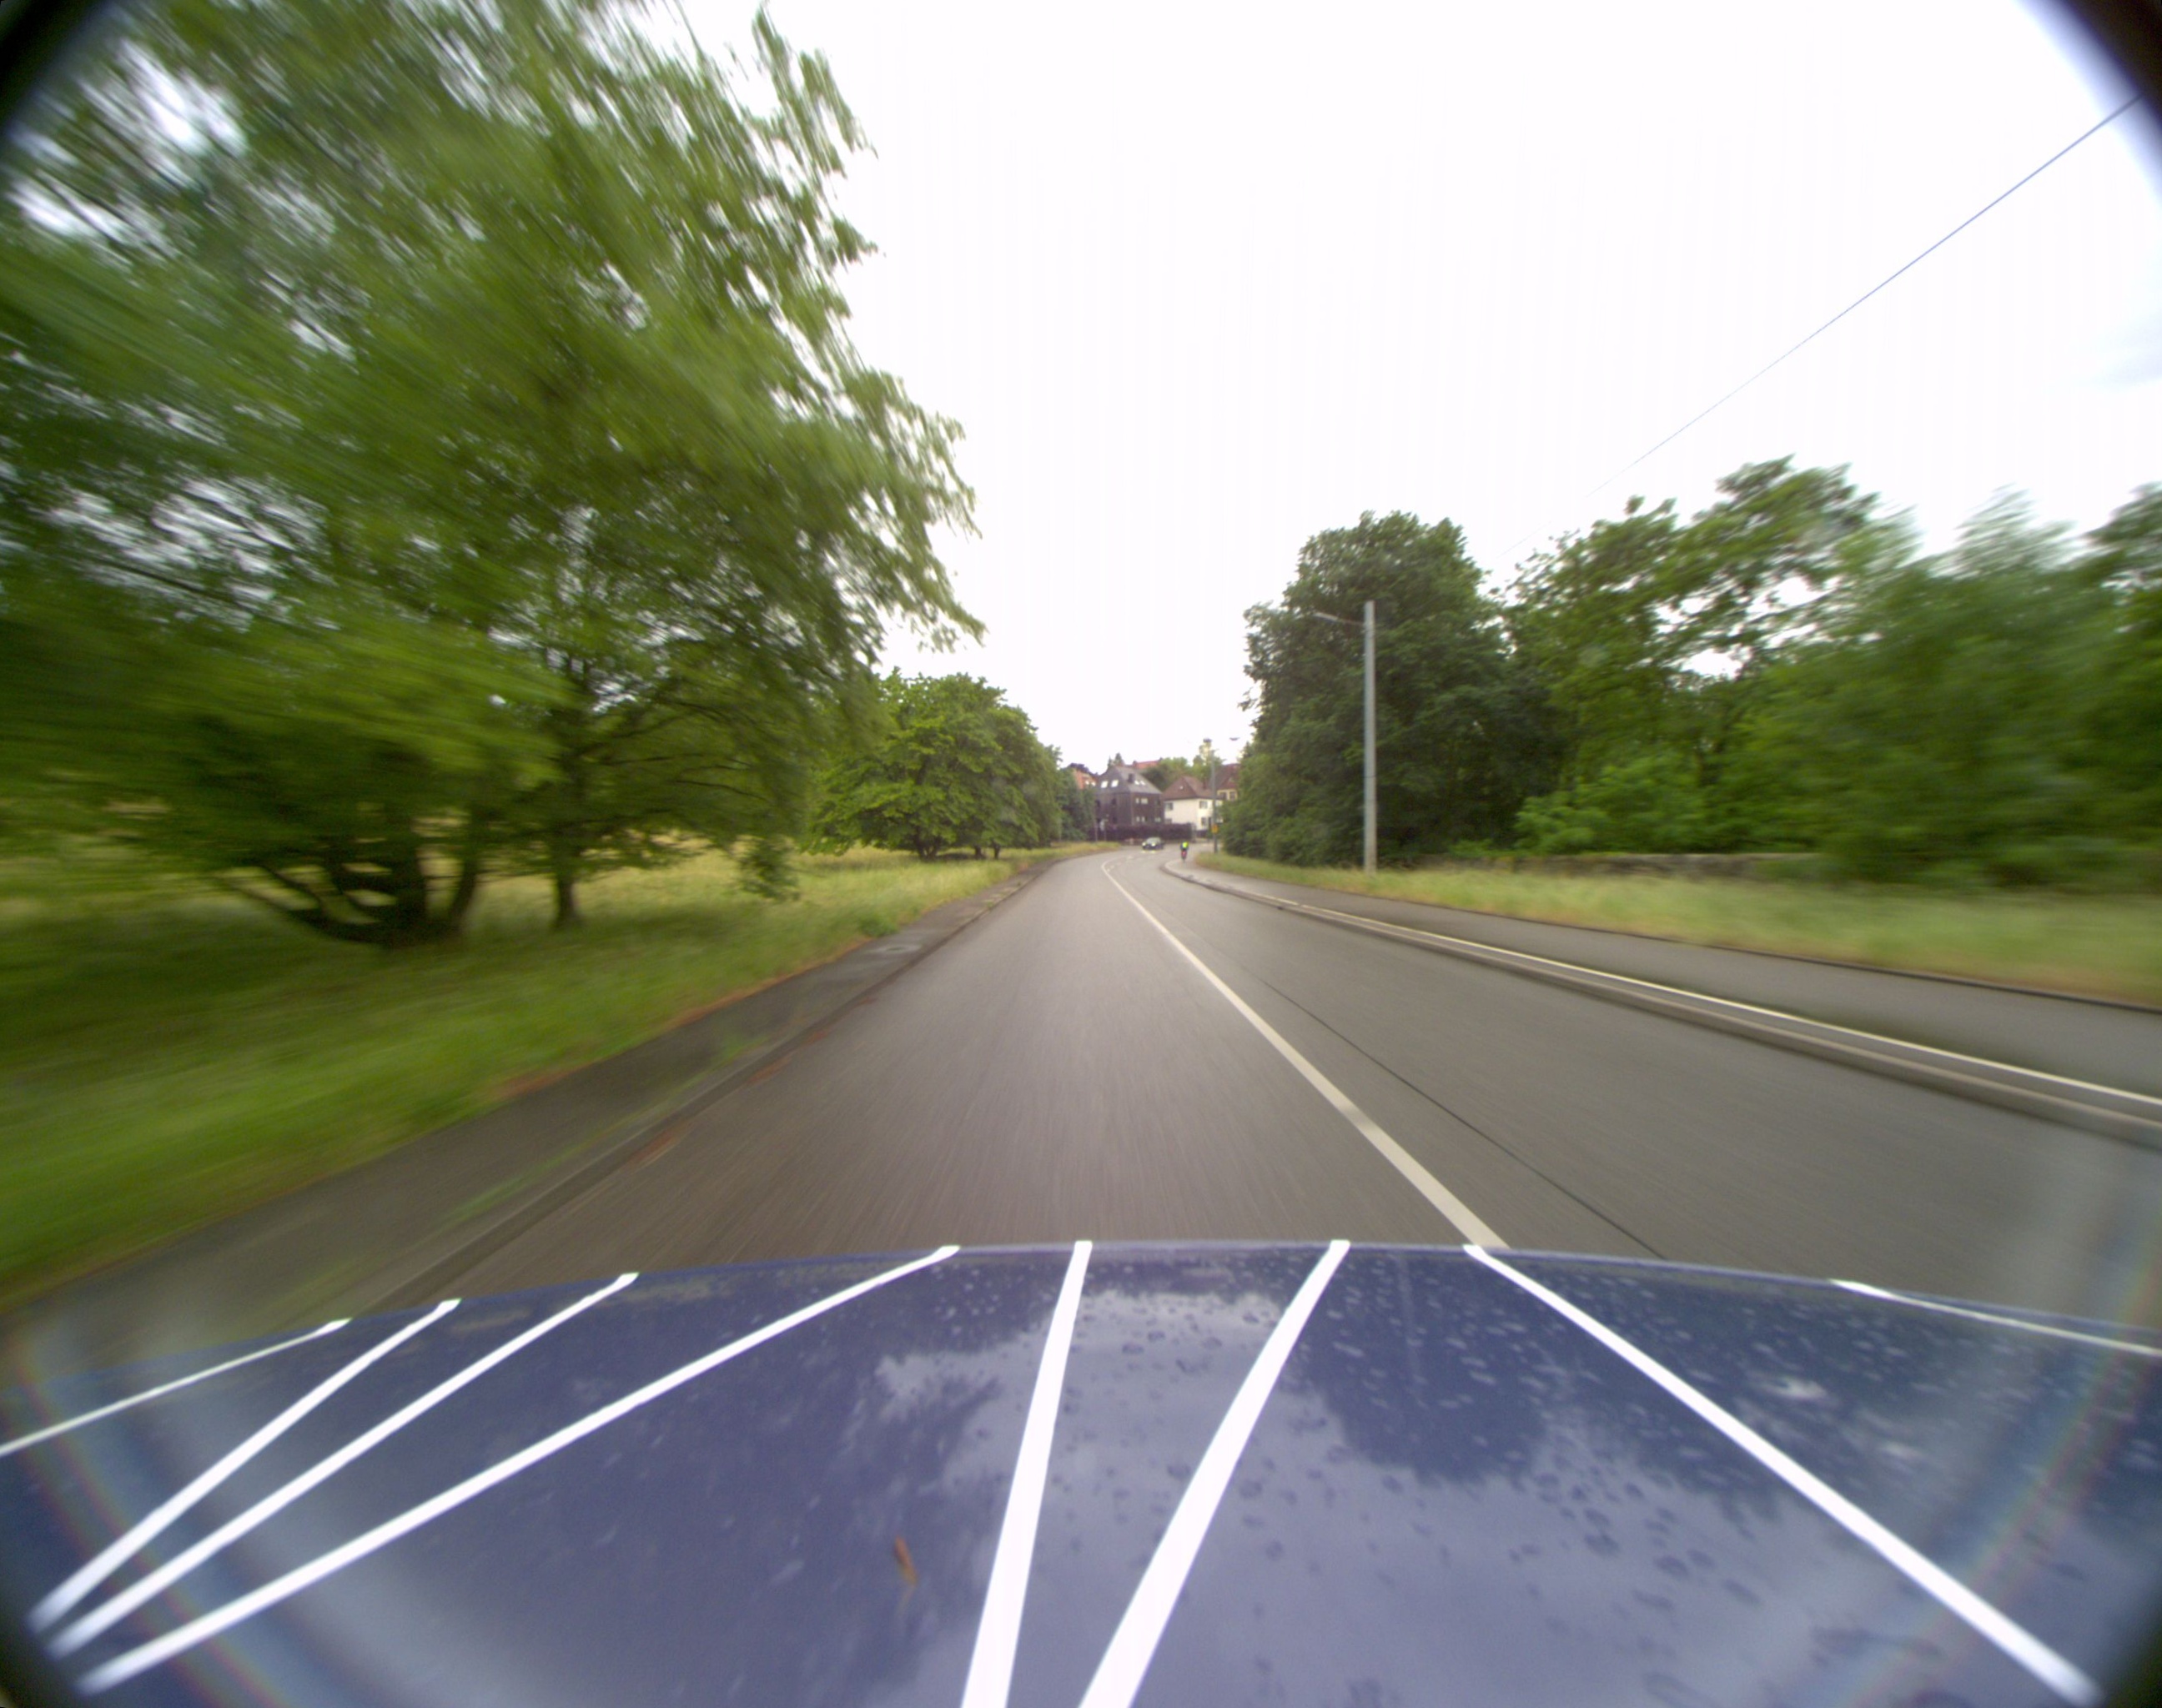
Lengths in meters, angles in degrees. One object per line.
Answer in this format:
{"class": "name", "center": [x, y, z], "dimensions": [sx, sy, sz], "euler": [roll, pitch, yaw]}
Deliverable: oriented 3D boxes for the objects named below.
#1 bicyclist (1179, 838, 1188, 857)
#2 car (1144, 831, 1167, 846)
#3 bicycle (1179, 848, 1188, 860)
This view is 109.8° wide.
{"class": "bicyclist", "center": [8.597, -0.536, 63.792], "dimensions": [0.710, 1.547, 1.171], "euler": [-3, 1, 6]}
{"class": "car", "center": [9.424, -1.999, 96.316], "dimensions": [1.995, 1.707, 4.004], "euler": [2, 3, 19]}
{"class": "bicycle", "center": [8.628, -0.019, 63.789], "dimensions": [0.725, 0.936, 2.551], "euler": [-3, 1, 8]}
